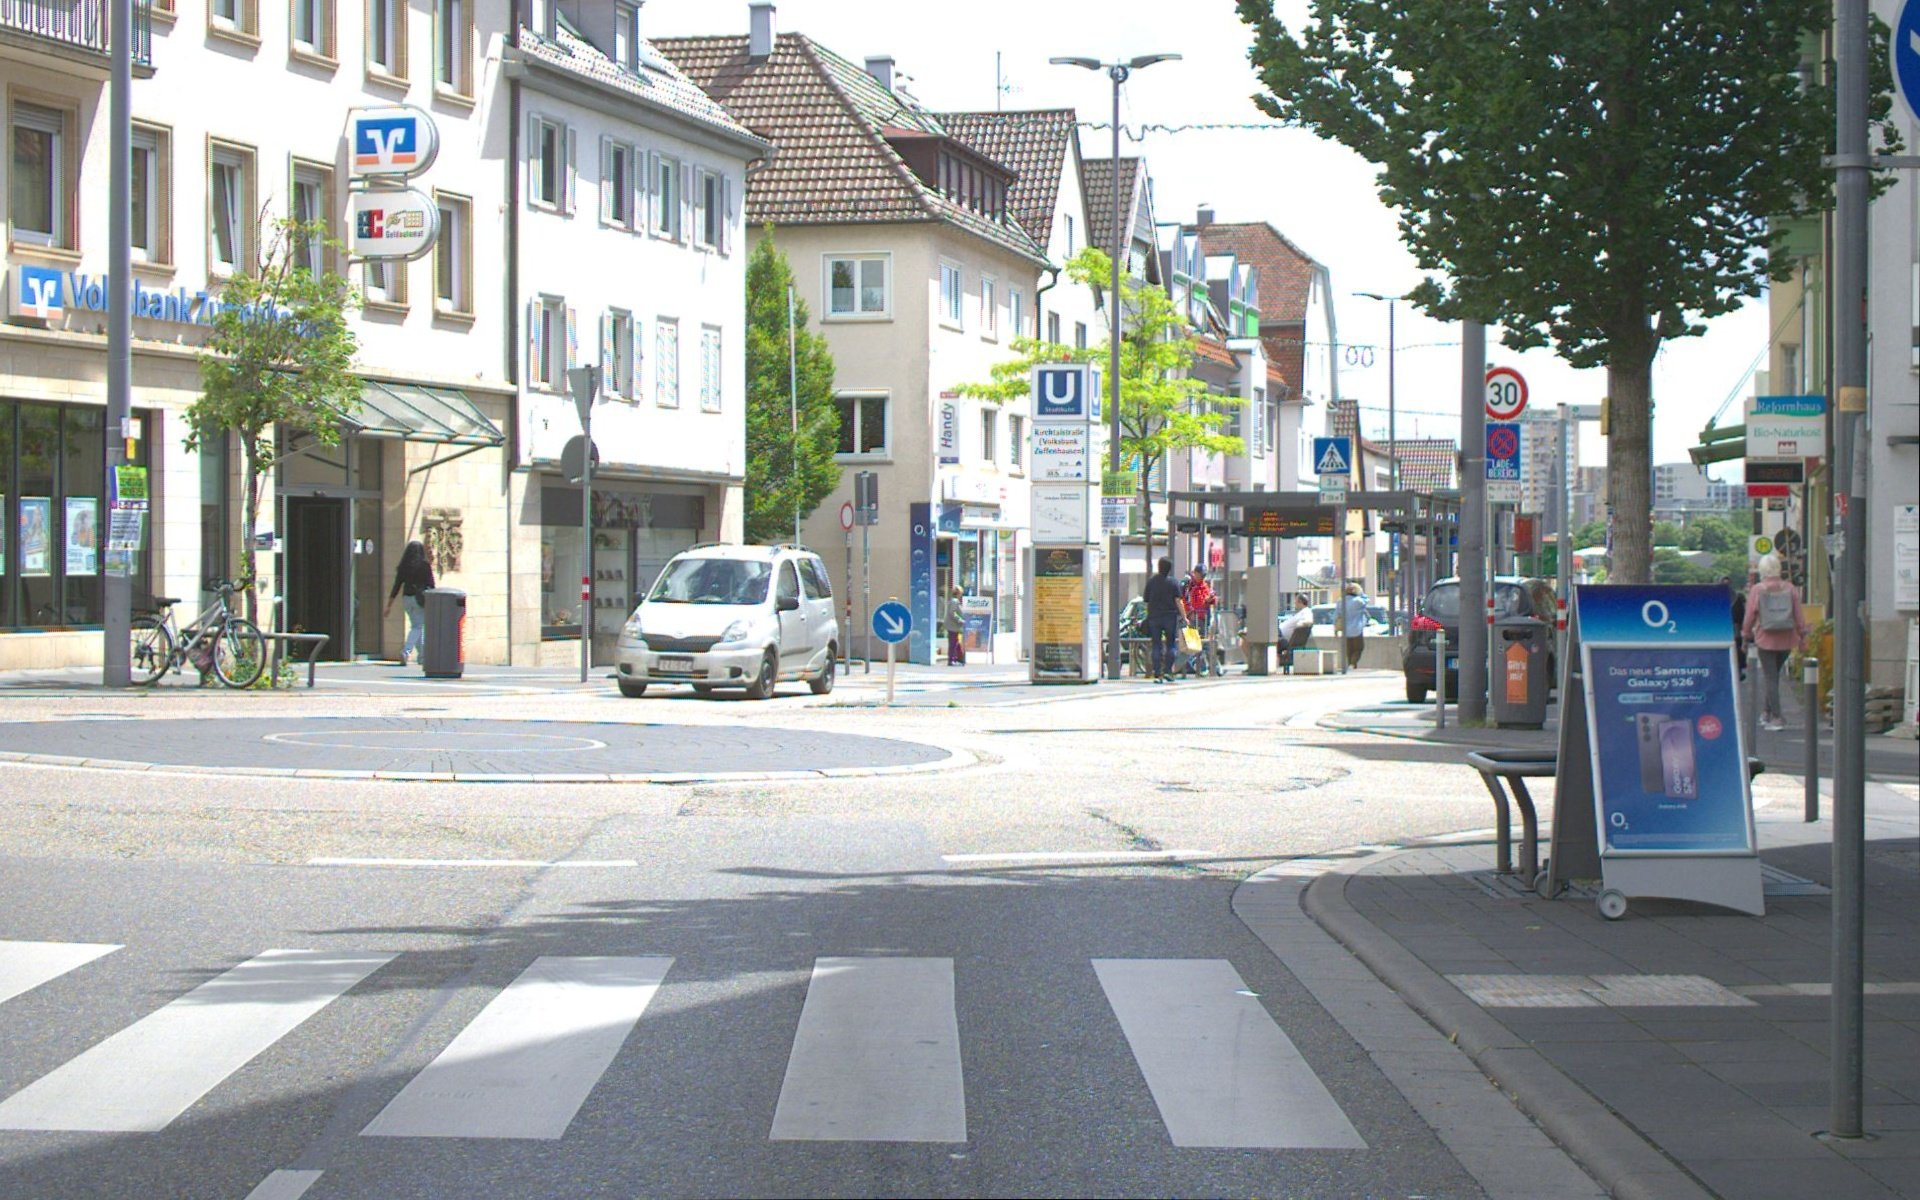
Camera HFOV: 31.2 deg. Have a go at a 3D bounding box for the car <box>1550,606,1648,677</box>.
[{"bbox_3d":[15.809,1.012,85.173,1.949,1.634,3.999,2,1,5],"label":"car"}]

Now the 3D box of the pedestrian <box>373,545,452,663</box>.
[{"bbox_3d":[-7.201,0.052,45.240,0.627,1.527,0.857,2,0,23],"label":"pedestrian"}]

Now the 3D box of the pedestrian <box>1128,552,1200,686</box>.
[{"bbox_3d":[2.625,0.242,44.329,0.869,1.702,0.531,2,0,2],"label":"pedestrian"}]

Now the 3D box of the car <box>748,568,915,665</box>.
[{"bbox_3d":[-2.150,0.254,58.450,1.846,1.539,3.998,2,1,13],"label":"car"}]

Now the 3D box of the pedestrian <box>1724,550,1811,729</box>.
[{"bbox_3d":[7.739,0.372,32.966,0.621,1.684,0.652,2,0,-1],"label":"pedestrian"}]

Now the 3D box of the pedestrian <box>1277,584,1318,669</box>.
[{"bbox_3d":[5.322,0.409,54.223,0.591,1.312,0.591,2,0,5],"label":"pedestrian"}]

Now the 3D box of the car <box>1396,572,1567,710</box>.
[{"bbox_3d":[6.238,0.454,40.890,1.698,1.525,3.469,2,1,13],"label":"car"}]

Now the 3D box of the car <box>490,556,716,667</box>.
[{"bbox_3d":[-4.998,0.144,48.680,1.995,1.448,3.998,2,1,13],"label":"car"}]

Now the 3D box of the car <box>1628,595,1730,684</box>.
[{"bbox_3d":[13.150,0.699,62.804,1.698,1.525,3.469,2,1,13],"label":"car"}]

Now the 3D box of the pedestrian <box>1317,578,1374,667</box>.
[{"bbox_3d":[6.948,0.396,61.921,0.729,1.574,0.747,2,1,35],"label":"pedestrian"}]

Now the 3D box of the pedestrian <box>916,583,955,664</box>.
[{"bbox_3d":[-0.493,0.473,69.437,0.693,1.605,0.644,2,0,3],"label":"pedestrian"}]

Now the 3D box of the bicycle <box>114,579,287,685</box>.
[{"bbox_3d":[-7.753,0.324,35.103,1.633,1.027,0.567,2,0,15],"label":"bicycle"}]

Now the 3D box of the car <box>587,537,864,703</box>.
[{"bbox_3d":[-2.530,0.197,38.095,1.995,1.683,3.998,2,1,12],"label":"car"}]

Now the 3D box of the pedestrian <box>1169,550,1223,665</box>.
[{"bbox_3d":[3.689,0.111,53.665,0.727,1.757,0.748,1,1,10],"label":"pedestrian"}]

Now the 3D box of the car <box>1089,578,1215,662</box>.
[{"bbox_3d":[3.975,0.390,70.494,1.876,1.618,3.998,2,1,13],"label":"car"}]

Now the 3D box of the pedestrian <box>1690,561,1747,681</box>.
[{"bbox_3d":[10.835,0.294,49.134,0.621,1.684,0.652,2,0,-1],"label":"pedestrian"}]
